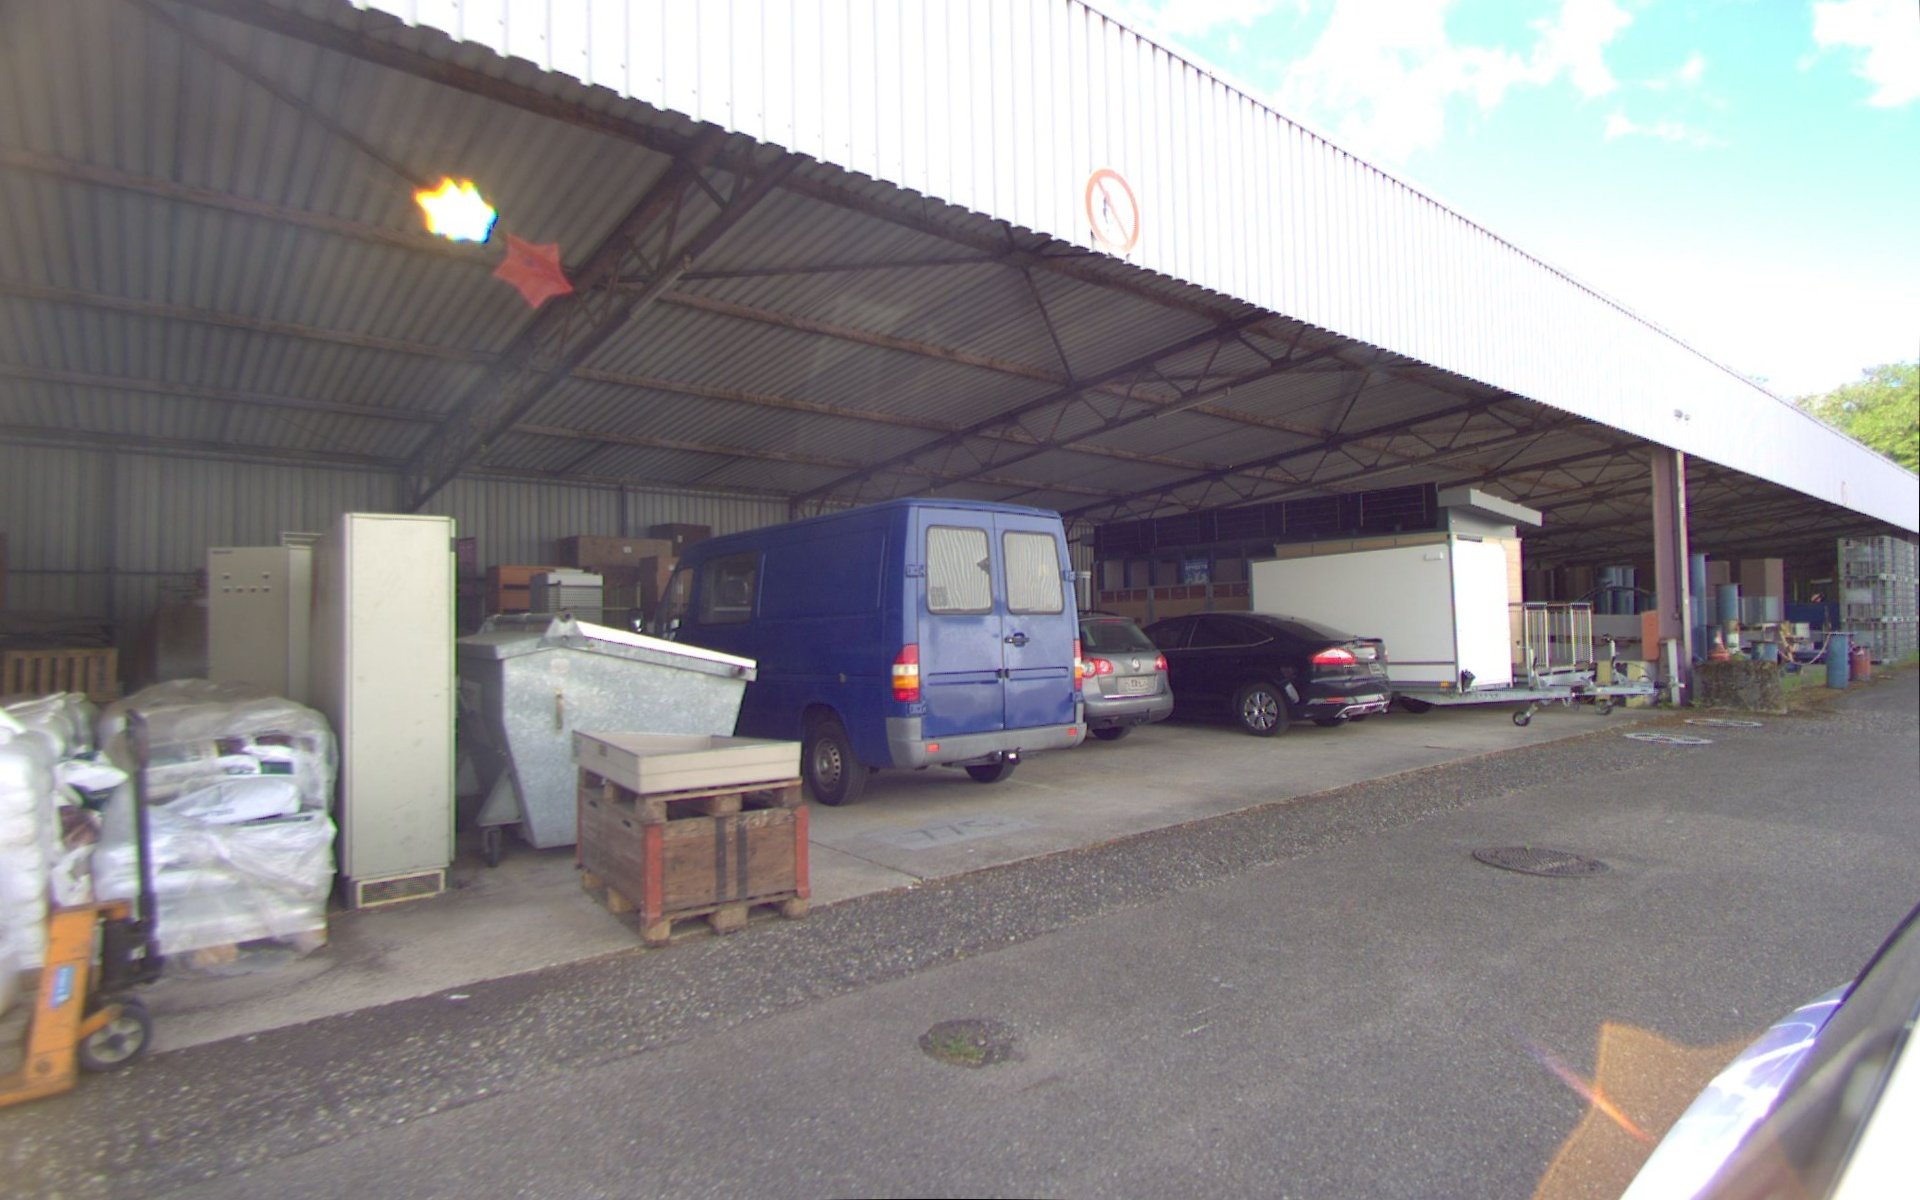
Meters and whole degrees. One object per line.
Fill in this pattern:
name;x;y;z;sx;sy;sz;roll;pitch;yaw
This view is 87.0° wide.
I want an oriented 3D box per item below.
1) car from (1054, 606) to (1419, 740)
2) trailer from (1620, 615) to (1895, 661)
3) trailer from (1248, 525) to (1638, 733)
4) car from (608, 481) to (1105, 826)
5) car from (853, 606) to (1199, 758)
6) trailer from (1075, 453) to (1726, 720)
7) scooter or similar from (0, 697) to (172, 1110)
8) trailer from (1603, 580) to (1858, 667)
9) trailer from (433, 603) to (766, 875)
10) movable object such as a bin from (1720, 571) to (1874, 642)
car;3.470;0.820;13.358;1.833;1.452;4.348;0;0;-42
trailer;22.031;1.029;28.226;1.974;1.148;5.742;0;-2;-41
trailer;6.363;0.350;13.852;1.658;2.365;4.551;1;-1;-39
car;-1.305;0.415;9.495;2.047;2.327;5.224;0;-1;-40
car;0.620;0.827;12.103;1.817;1.472;4.115;0;0;-40
trailer;6.582;-0.126;17.515;2.627;3.337;10.315;0;-1;-39
scooter or similar;-3.274;0.926;2.918;1.564;1.149;0.521;-1;-1;-41
trailer;19.624;0.562;26.005;2.009;2.022;4.830;0;-1;-37
trailer;-2.543;0.798;6.961;1.611;1.481;2.099;-1;-1;-37
movable object such as a bin;34.338;0.298;41.638;1.965;2.757;4.621;2;-2;-41
